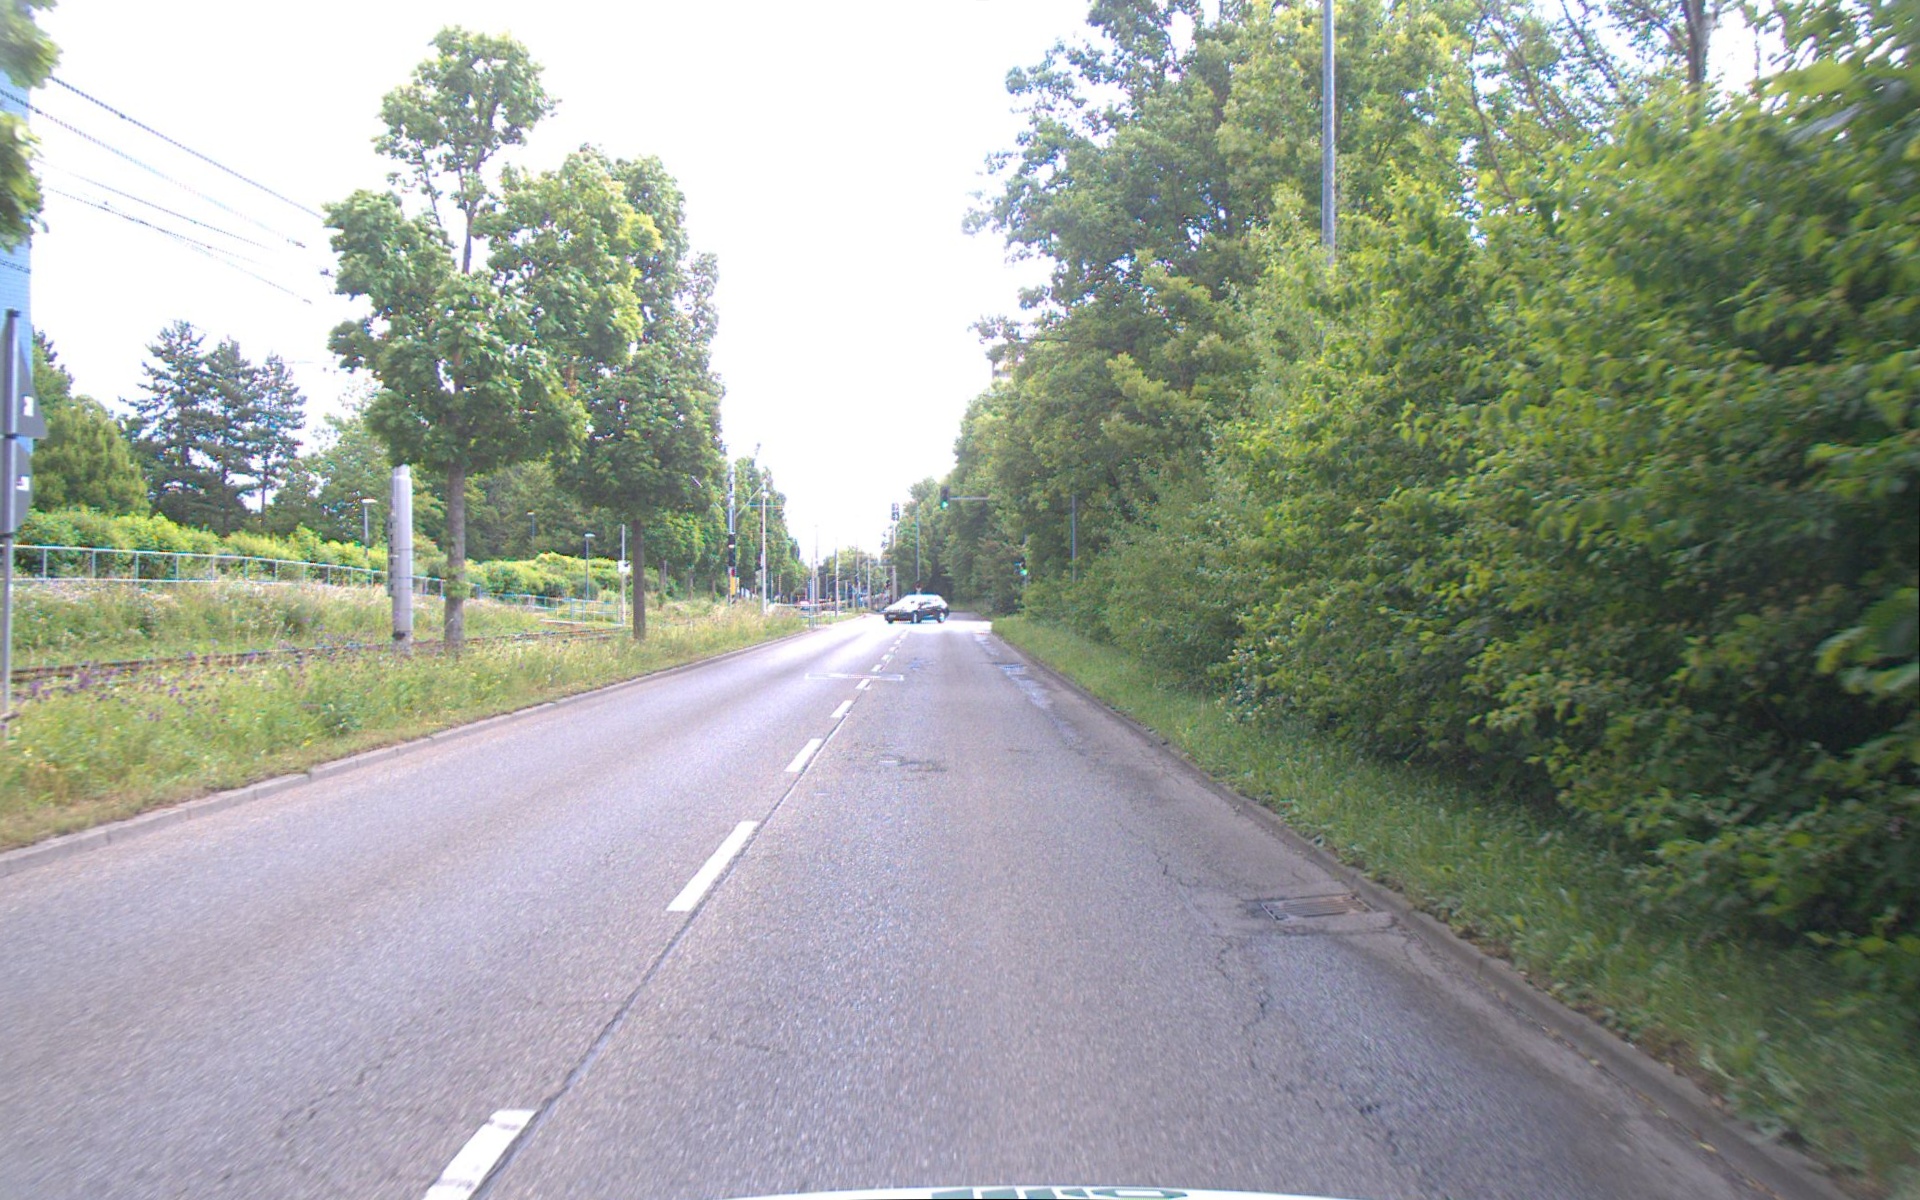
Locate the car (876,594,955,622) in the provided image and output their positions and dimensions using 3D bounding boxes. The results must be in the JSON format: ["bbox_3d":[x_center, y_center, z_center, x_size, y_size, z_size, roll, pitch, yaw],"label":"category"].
[{"bbox_3d":[-2.391,0.419,90.056,1.825,1.496,4.225,1,1,45],"label":"car"}]
